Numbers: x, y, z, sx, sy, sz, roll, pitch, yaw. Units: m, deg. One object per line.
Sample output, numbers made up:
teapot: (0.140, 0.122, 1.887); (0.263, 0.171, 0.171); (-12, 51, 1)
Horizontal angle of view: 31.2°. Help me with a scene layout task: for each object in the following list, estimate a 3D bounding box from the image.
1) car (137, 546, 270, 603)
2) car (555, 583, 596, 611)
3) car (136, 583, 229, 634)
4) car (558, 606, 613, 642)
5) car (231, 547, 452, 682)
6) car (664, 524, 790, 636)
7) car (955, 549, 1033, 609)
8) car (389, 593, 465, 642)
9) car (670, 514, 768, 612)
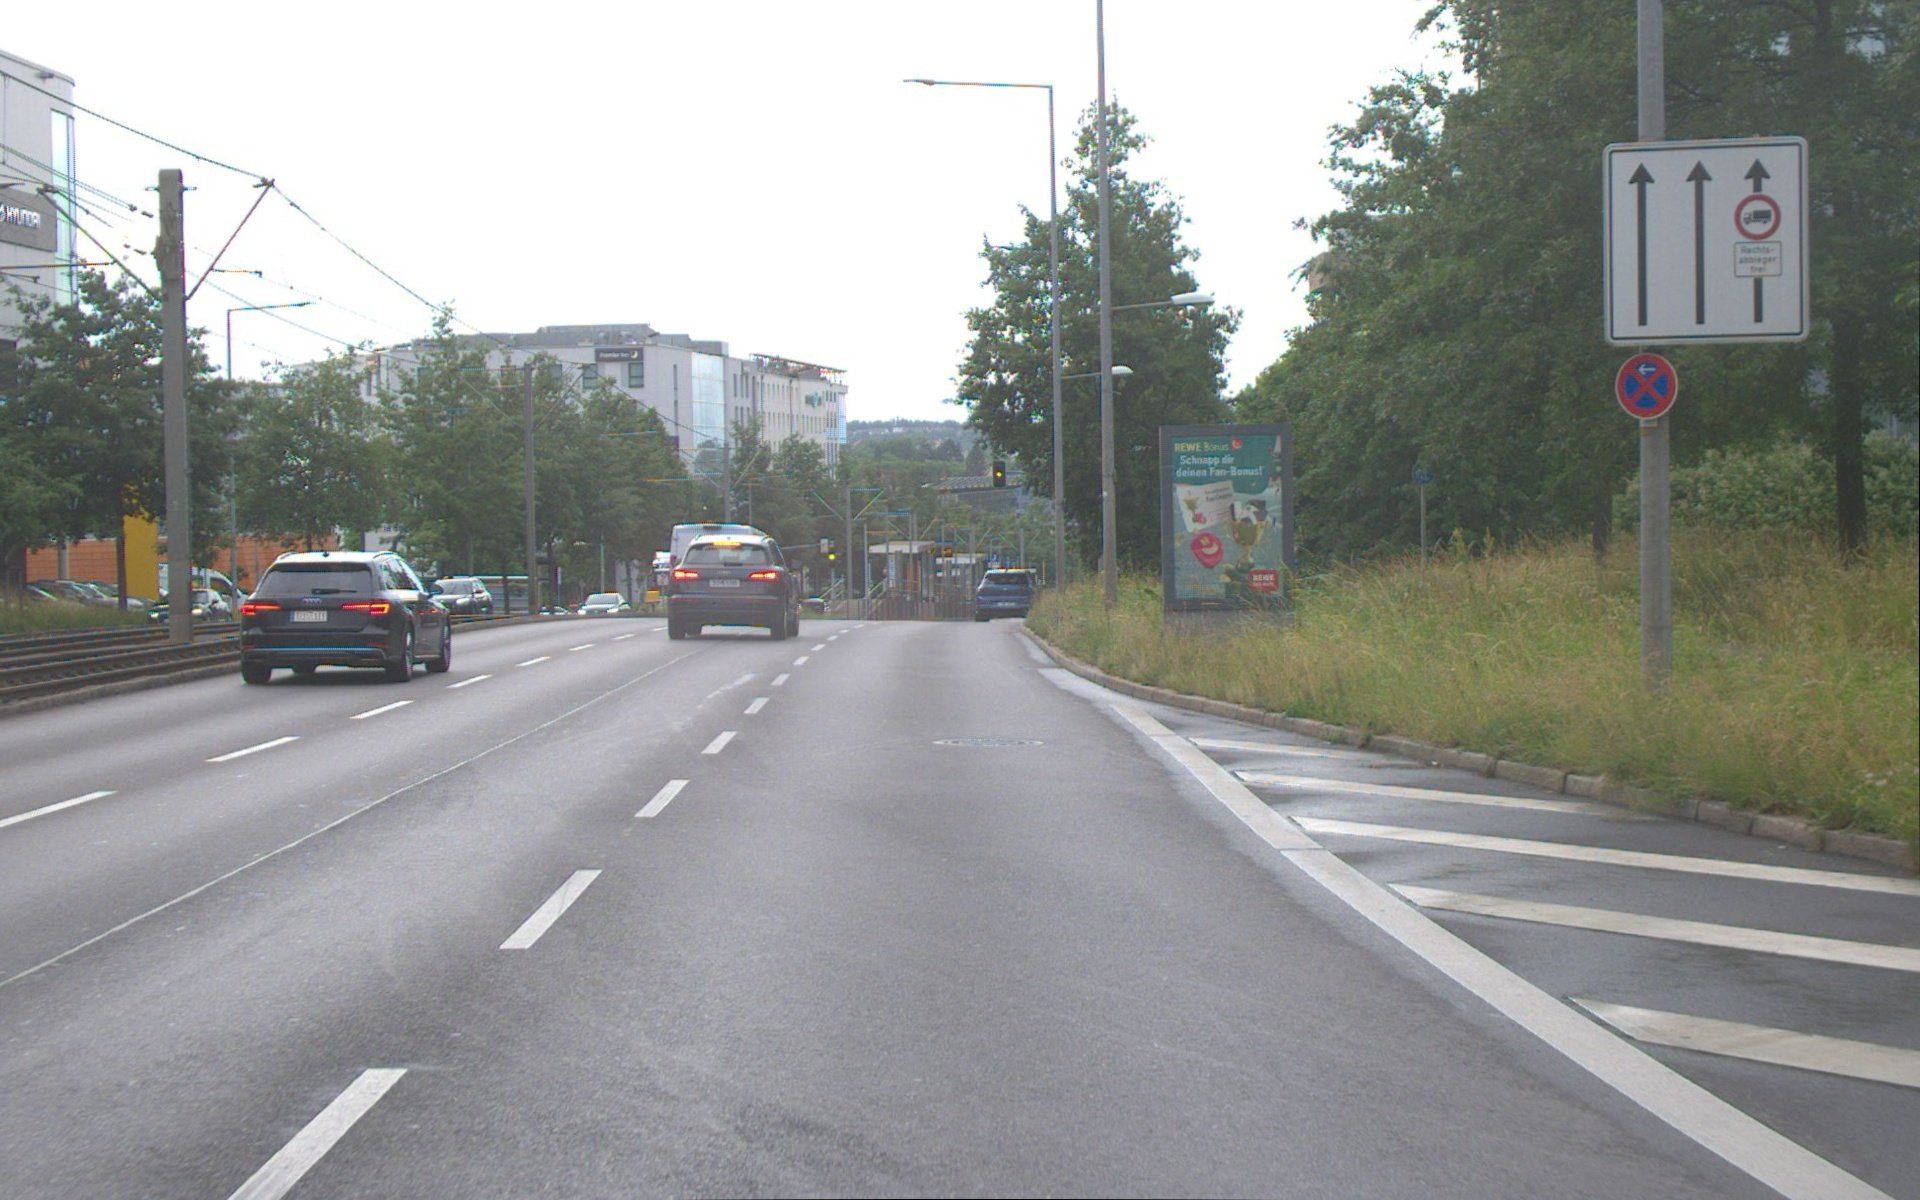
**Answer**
car: (-31.772, -1.057, 144.311); (5.301, 2.305, 2.020); (1, -1, -16)
car: (-21.550, -0.165, 192.707); (1.667, 1.457, 4.238); (1, -1, 2)
car: (-23.059, 0.279, 102.066); (1.667, 1.457, 4.238); (1, -1, 2)
car: (-15.675, 1.015, 144.014); (1.667, 1.457, 4.238); (1, -1, 2)
car: (-6.855, 0.116, 38.538); (1.785, 1.409, 4.806); (0, 1, -2)
car: (-3.739, -0.342, 55.077); (1.922, 1.705, 4.099); (1, 1, -4)
car: (0.929, -0.574, 95.115); (1.789, 1.585, 4.001); (-1, 0, -4)
car: (-17.504, 0.586, 113.009); (1.658, 1.544, 3.999); (1, -1, 3)
car: (-5.849, -0.904, 83.502); (2.267, 2.277, 4.760); (1, 1, -4)
